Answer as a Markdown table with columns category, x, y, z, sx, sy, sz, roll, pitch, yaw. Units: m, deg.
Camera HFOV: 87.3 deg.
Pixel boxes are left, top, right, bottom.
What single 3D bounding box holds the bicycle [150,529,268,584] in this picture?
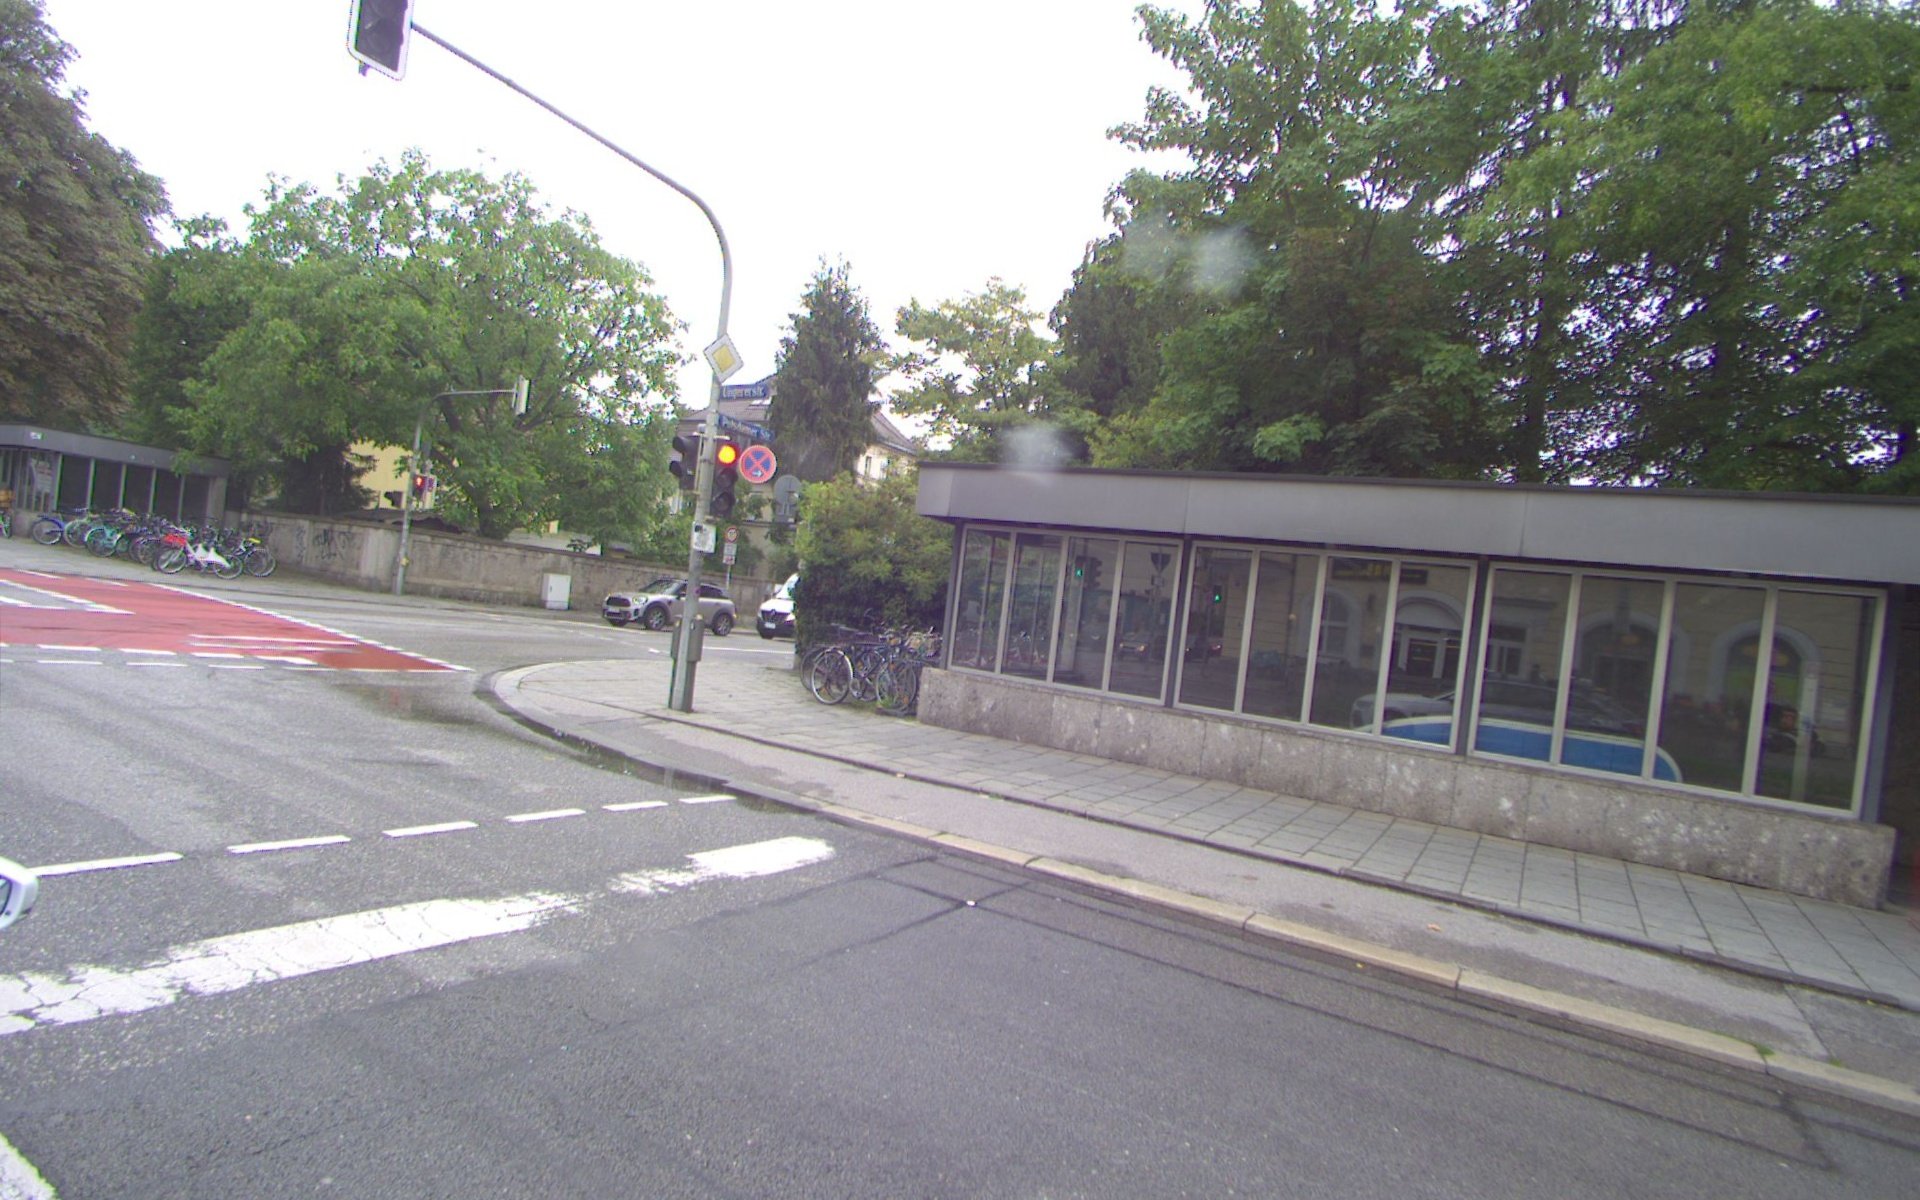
| category | x | y | z | sx | sy | sz | roll | pitch | yaw |
| --- | --- | --- | --- | --- | --- | --- | --- | --- | --- |
| bicycle | -18.146 | -1.035 | 24.360 | 0.594 | 1.026 | 2.141 | 7 | 0 | 39 |

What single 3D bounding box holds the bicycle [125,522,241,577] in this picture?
| category | x | y | z | sx | sy | sz | roll | pitch | yaw |
| --- | --- | --- | --- | --- | --- | --- | --- | --- | --- |
| bicycle | -19.338 | -1.240 | 25.078 | 0.594 | 1.084 | 2.141 | 7 | 0 | 39 |

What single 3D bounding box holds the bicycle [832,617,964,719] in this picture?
| category | x | y | z | sx | sy | sz | roll | pitch | yaw |
| --- | --- | --- | --- | --- | --- | --- | --- | --- | --- |
| bicycle | -0.846 | 0.889 | 13.443 | 1.707 | 1.135 | 0.469 | 6 | 0 | 32 |

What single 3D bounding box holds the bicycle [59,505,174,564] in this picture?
| category | x | y | z | sx | sy | sz | roll | pitch | yaw |
| --- | --- | --- | --- | --- | --- | --- | --- | --- | --- |
| bicycle | -21.908 | -1.681 | 26.164 | 0.594 | 1.192 | 2.141 | 7 | 0 | 39 |

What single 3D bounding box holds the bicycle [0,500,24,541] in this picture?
| category | x | y | z | sx | sy | sz | roll | pitch | yaw |
| --- | --- | --- | --- | --- | --- | --- | --- | --- | --- |
| bicycle | -26.524 | -2.243 | 27.638 | 1.981 | 1.027 | 0.557 | 7 | 0 | 30 |

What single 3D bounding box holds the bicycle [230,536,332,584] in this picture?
| category | x | y | z | sx | sy | sz | roll | pitch | yaw |
| --- | --- | --- | --- | --- | --- | --- | --- | --- | --- |
| bicycle | -18.366 | -1.067 | 27.250 | 0.625 | 1.026 | 2.141 | 7 | 0 | 39 |

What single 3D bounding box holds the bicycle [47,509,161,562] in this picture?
| category | x | y | z | sx | sy | sz | roll | pitch | yaw |
| --- | --- | --- | --- | --- | --- | --- | --- | --- | --- |
| bicycle | -22.514 | -1.691 | 26.501 | 0.594 | 1.075 | 2.141 | 7 | 0 | 39 |

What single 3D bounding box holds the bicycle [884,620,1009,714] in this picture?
| category | x | y | z | sx | sy | sz | roll | pitch | yaw |
| --- | --- | --- | --- | --- | --- | --- | --- | --- | --- |
| bicycle | -0.210 | 0.952 | 14.489 | 1.707 | 1.135 | 0.469 | 6 | 0 | 32 |

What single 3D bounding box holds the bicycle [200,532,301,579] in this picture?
| category | x | y | z | sx | sy | sz | roll | pitch | yaw |
| --- | --- | --- | --- | --- | --- | --- | --- | --- | --- |
| bicycle | -19.704 | -1.223 | 27.990 | 0.625 | 1.026 | 2.141 | 7 | 0 | 39 |

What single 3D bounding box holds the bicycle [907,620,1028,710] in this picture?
| category | x | y | z | sx | sy | sz | roll | pitch | yaw |
| --- | --- | --- | --- | --- | --- | --- | --- | --- | --- |
| bicycle | 0.101 | 0.954 | 15.003 | 1.707 | 1.135 | 0.469 | 6 | 0 | 32 |

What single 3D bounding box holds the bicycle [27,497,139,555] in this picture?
| category | x | y | z | sx | sy | sz | roll | pitch | yaw |
| --- | --- | --- | --- | --- | --- | --- | --- | --- | --- |
| bicycle | -23.812 | -1.993 | 27.350 | 0.594 | 1.233 | 2.141 | 7 | 0 | 39 |

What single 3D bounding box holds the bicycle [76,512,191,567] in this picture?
| category | x | y | z | sx | sy | sz | roll | pitch | yaw |
| --- | --- | --- | --- | --- | --- | --- | --- | --- | --- |
| bicycle | -21.232 | -1.549 | 25.897 | 0.594 | 1.099 | 2.141 | 7 | 0 | 39 |

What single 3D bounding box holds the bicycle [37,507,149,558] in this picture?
| category | x | y | z | sx | sy | sz | roll | pitch | yaw |
| --- | --- | --- | --- | --- | --- | --- | --- | --- | --- |
| bicycle | -23.230 | -1.790 | 26.980 | 0.594 | 1.026 | 2.141 | 7 | 0 | 39 |

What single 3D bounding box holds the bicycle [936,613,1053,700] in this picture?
| category | x | y | z | sx | sy | sz | roll | pitch | yaw |
| --- | --- | --- | --- | --- | --- | --- | --- | --- | --- |
| bicycle | 0.519 | 0.864 | 15.649 | 1.707 | 1.135 | 0.469 | 6 | 0 | 32 |

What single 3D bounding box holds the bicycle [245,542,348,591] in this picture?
| category | x | y | z | sx | sy | sz | roll | pitch | yaw |
| --- | --- | --- | --- | --- | --- | --- | --- | --- | --- |
| bicycle | -17.688 | -0.886 | 26.883 | 0.625 | 1.026 | 2.141 | 7 | 0 | 39 |

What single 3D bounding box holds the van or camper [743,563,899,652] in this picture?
| category | x | y | z | sx | sy | sz | roll | pitch | yaw |
| --- | --- | --- | --- | --- | --- | --- | --- | --- | --- |
| van or camper | -4.734 | 0.345 | 35.181 | 2.033 | 2.499 | 5.558 | 7 | 0 | 33 |

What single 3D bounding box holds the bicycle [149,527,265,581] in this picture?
| category | x | y | z | sx | sy | sz | roll | pitch | yaw |
| --- | --- | --- | --- | --- | --- | --- | --- | --- | --- |
| bicycle | -18.556 | -1.128 | 24.852 | 0.625 | 1.026 | 2.141 | 7 | 0 | 39 |

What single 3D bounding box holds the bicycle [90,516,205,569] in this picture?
| category | x | y | z | sx | sy | sz | roll | pitch | yaw |
| --- | --- | --- | --- | --- | --- | --- | --- | --- | --- |
| bicycle | -20.610 | -1.438 | 25.555 | 0.594 | 1.026 | 2.141 | 7 | 0 | 39 |

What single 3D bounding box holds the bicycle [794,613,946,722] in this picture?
| category | x | y | z | sx | sy | sz | roll | pitch | yaw |
| --- | --- | --- | --- | --- | --- | --- | --- | --- | --- |
| bicycle | -1.169 | 0.843 | 12.873 | 1.858 | 1.135 | 0.600 | 6 | 0 | 32 |

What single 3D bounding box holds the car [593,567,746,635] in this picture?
| category | x | y | z | sx | sy | sz | roll | pitch | yaw |
| --- | --- | --- | --- | --- | --- | --- | --- | --- | --- |
| car | -8.552 | 0.081 | 29.921 | 1.668 | 1.532 | 4.172 | 7 | -1 | 33 |

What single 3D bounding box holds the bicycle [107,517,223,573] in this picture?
| category | x | y | z | sx | sy | sz | roll | pitch | yaw |
| --- | --- | --- | --- | --- | --- | --- | --- | --- | --- |
| bicycle | -19.948 | -1.363 | 25.297 | 0.594 | 1.114 | 2.141 | 7 | 0 | 39 |

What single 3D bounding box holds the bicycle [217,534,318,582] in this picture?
| category | x | y | z | sx | sy | sz | roll | pitch | yaw |
| --- | --- | --- | --- | --- | --- | --- | --- | --- | --- |
| bicycle | -19.002 | -1.138 | 27.650 | 0.625 | 1.026 | 2.141 | 7 | 0 | 39 |

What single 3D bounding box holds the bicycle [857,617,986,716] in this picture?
| category | x | y | z | sx | sy | sz | roll | pitch | yaw |
| --- | --- | --- | --- | --- | --- | --- | --- | --- | --- |
| bicycle | -0.547 | 0.904 | 13.941 | 1.707 | 1.135 | 0.469 | 6 | 0 | 32 |

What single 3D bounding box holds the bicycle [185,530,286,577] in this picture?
| category | x | y | z | sx | sy | sz | roll | pitch | yaw |
| --- | --- | --- | --- | --- | --- | --- | --- | --- | --- |
| bicycle | -20.384 | -1.304 | 28.349 | 0.625 | 1.026 | 2.141 | 7 | 0 | 39 |
